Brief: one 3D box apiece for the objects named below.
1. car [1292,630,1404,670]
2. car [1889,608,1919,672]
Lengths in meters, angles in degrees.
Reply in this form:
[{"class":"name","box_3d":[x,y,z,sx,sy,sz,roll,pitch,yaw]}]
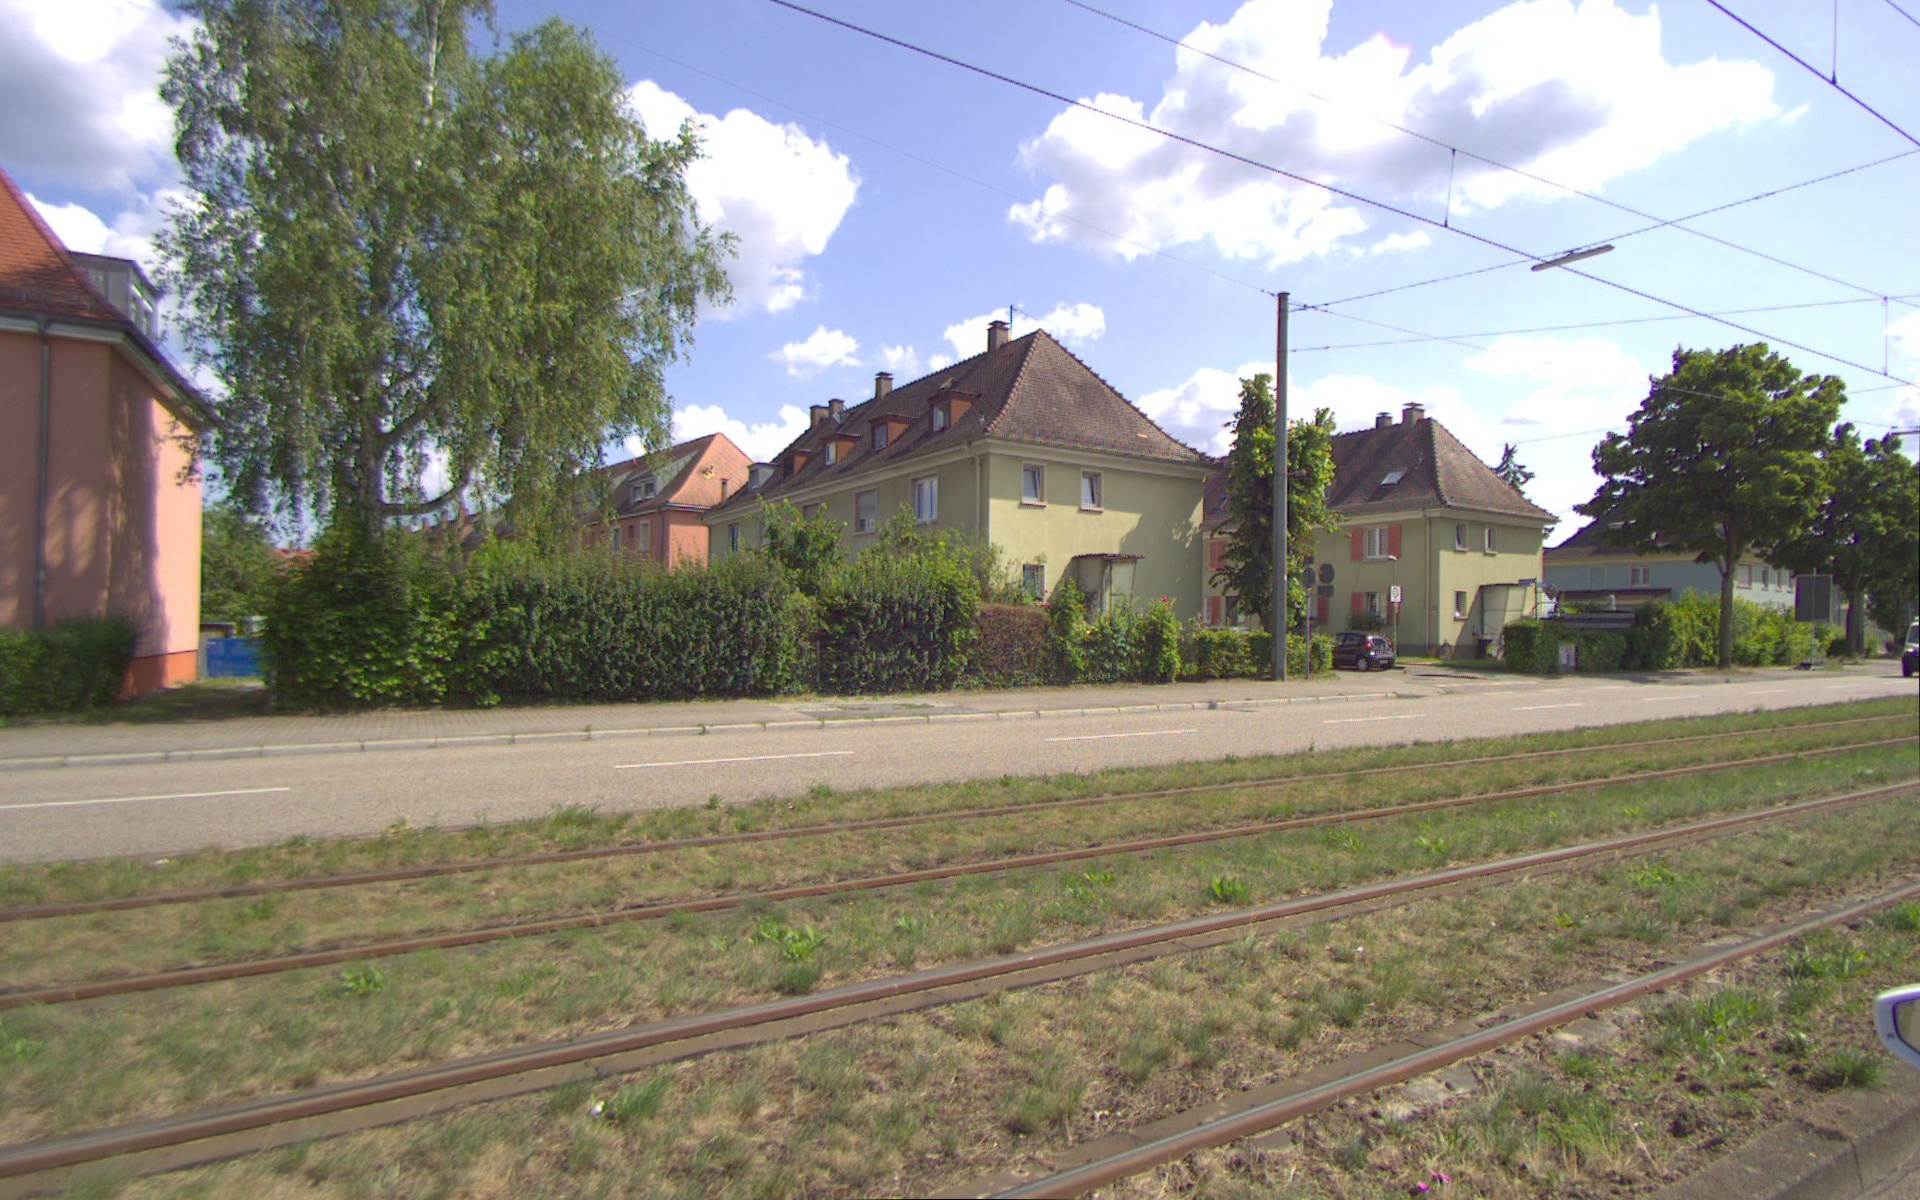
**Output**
[{"class":"car","box_3d":[15.138,1.915,39.379,1.874,1.487,3.719,1,-2,-33]},{"class":"car","box_3d":[38.862,1.592,39.588,5.278,2.403,2.183,2,-3,-34]}]
